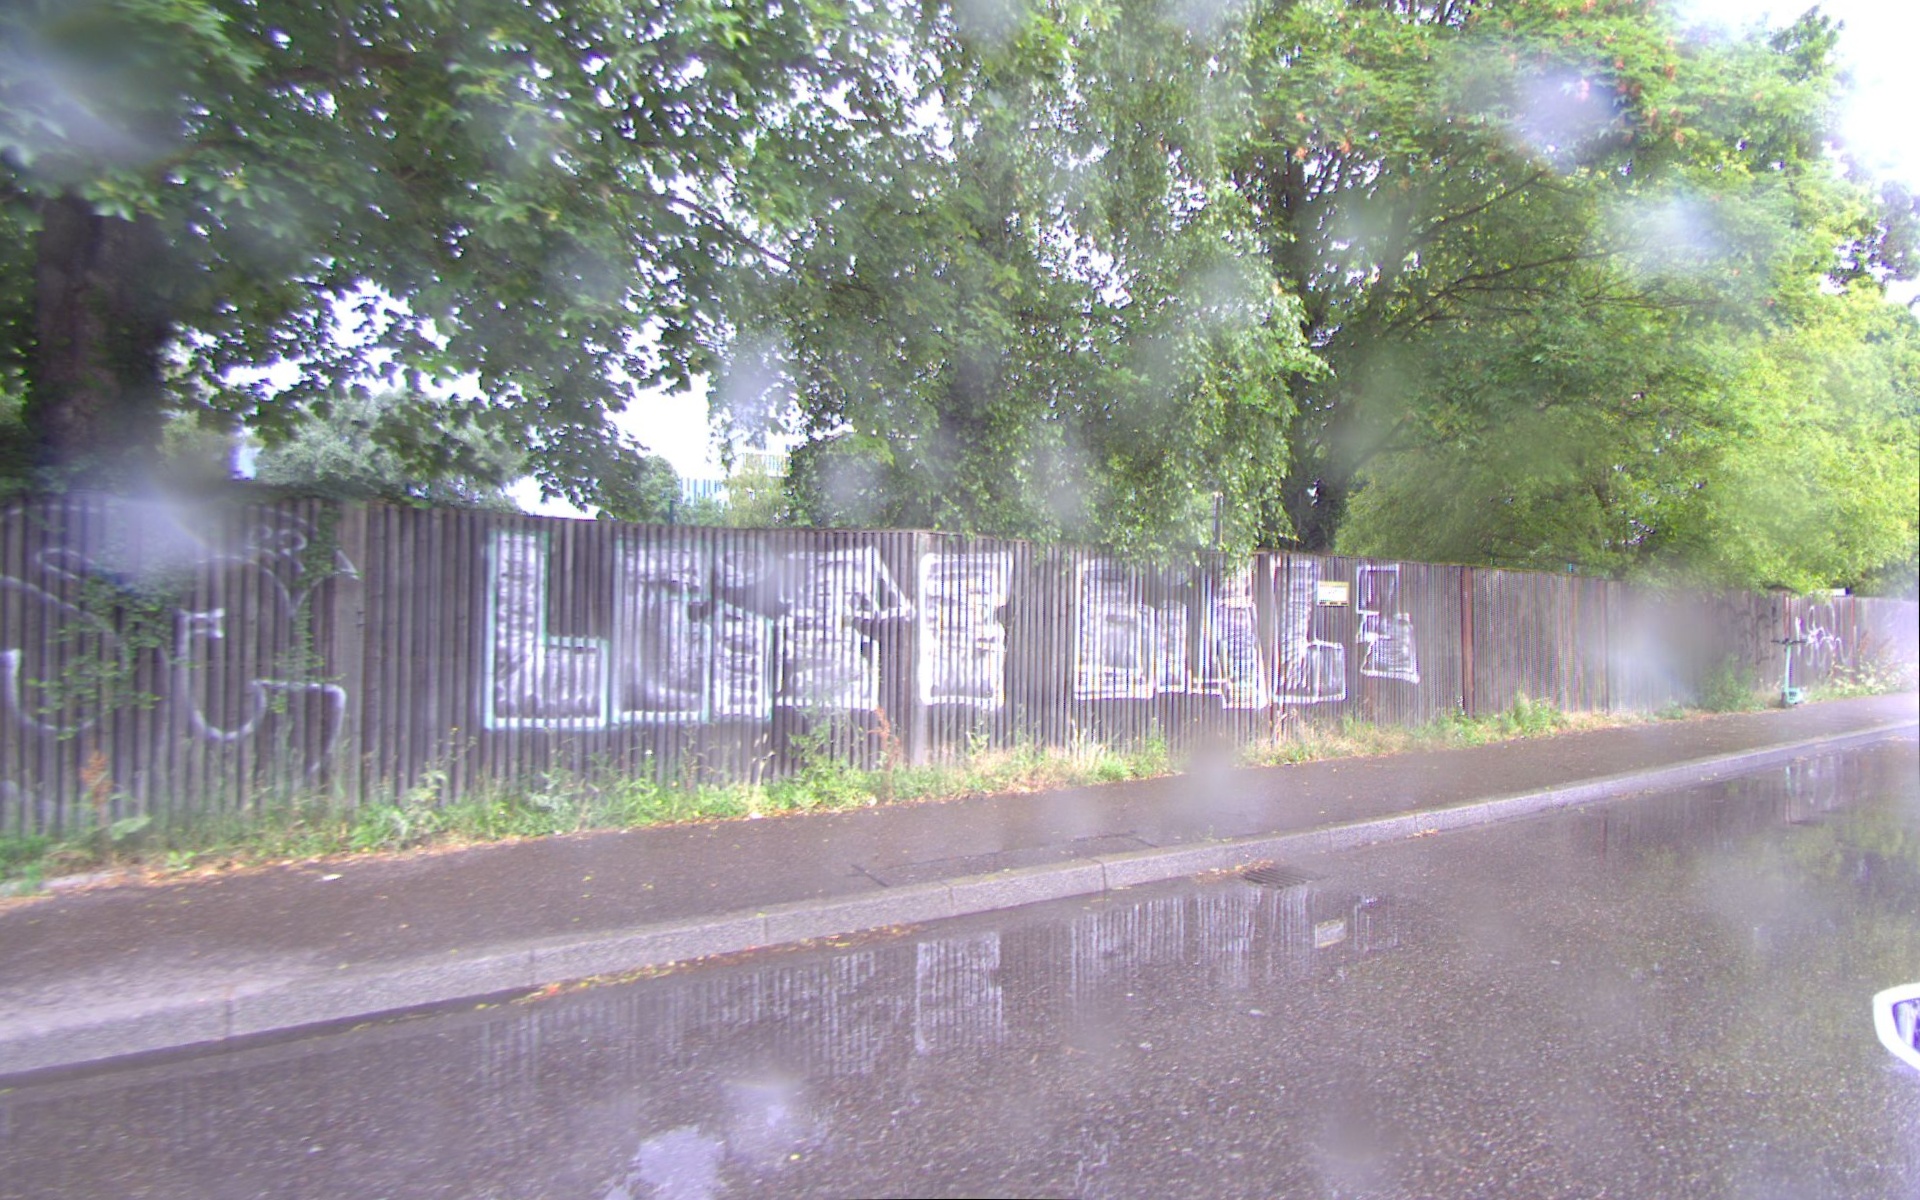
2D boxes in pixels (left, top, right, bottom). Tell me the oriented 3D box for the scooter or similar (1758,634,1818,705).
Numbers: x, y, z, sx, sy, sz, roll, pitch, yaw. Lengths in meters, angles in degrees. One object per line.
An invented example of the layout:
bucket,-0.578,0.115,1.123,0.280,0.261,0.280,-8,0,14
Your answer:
scooter or similar,14.379,1.192,17.443,1.197,1.178,0.558,1,-1,-38
